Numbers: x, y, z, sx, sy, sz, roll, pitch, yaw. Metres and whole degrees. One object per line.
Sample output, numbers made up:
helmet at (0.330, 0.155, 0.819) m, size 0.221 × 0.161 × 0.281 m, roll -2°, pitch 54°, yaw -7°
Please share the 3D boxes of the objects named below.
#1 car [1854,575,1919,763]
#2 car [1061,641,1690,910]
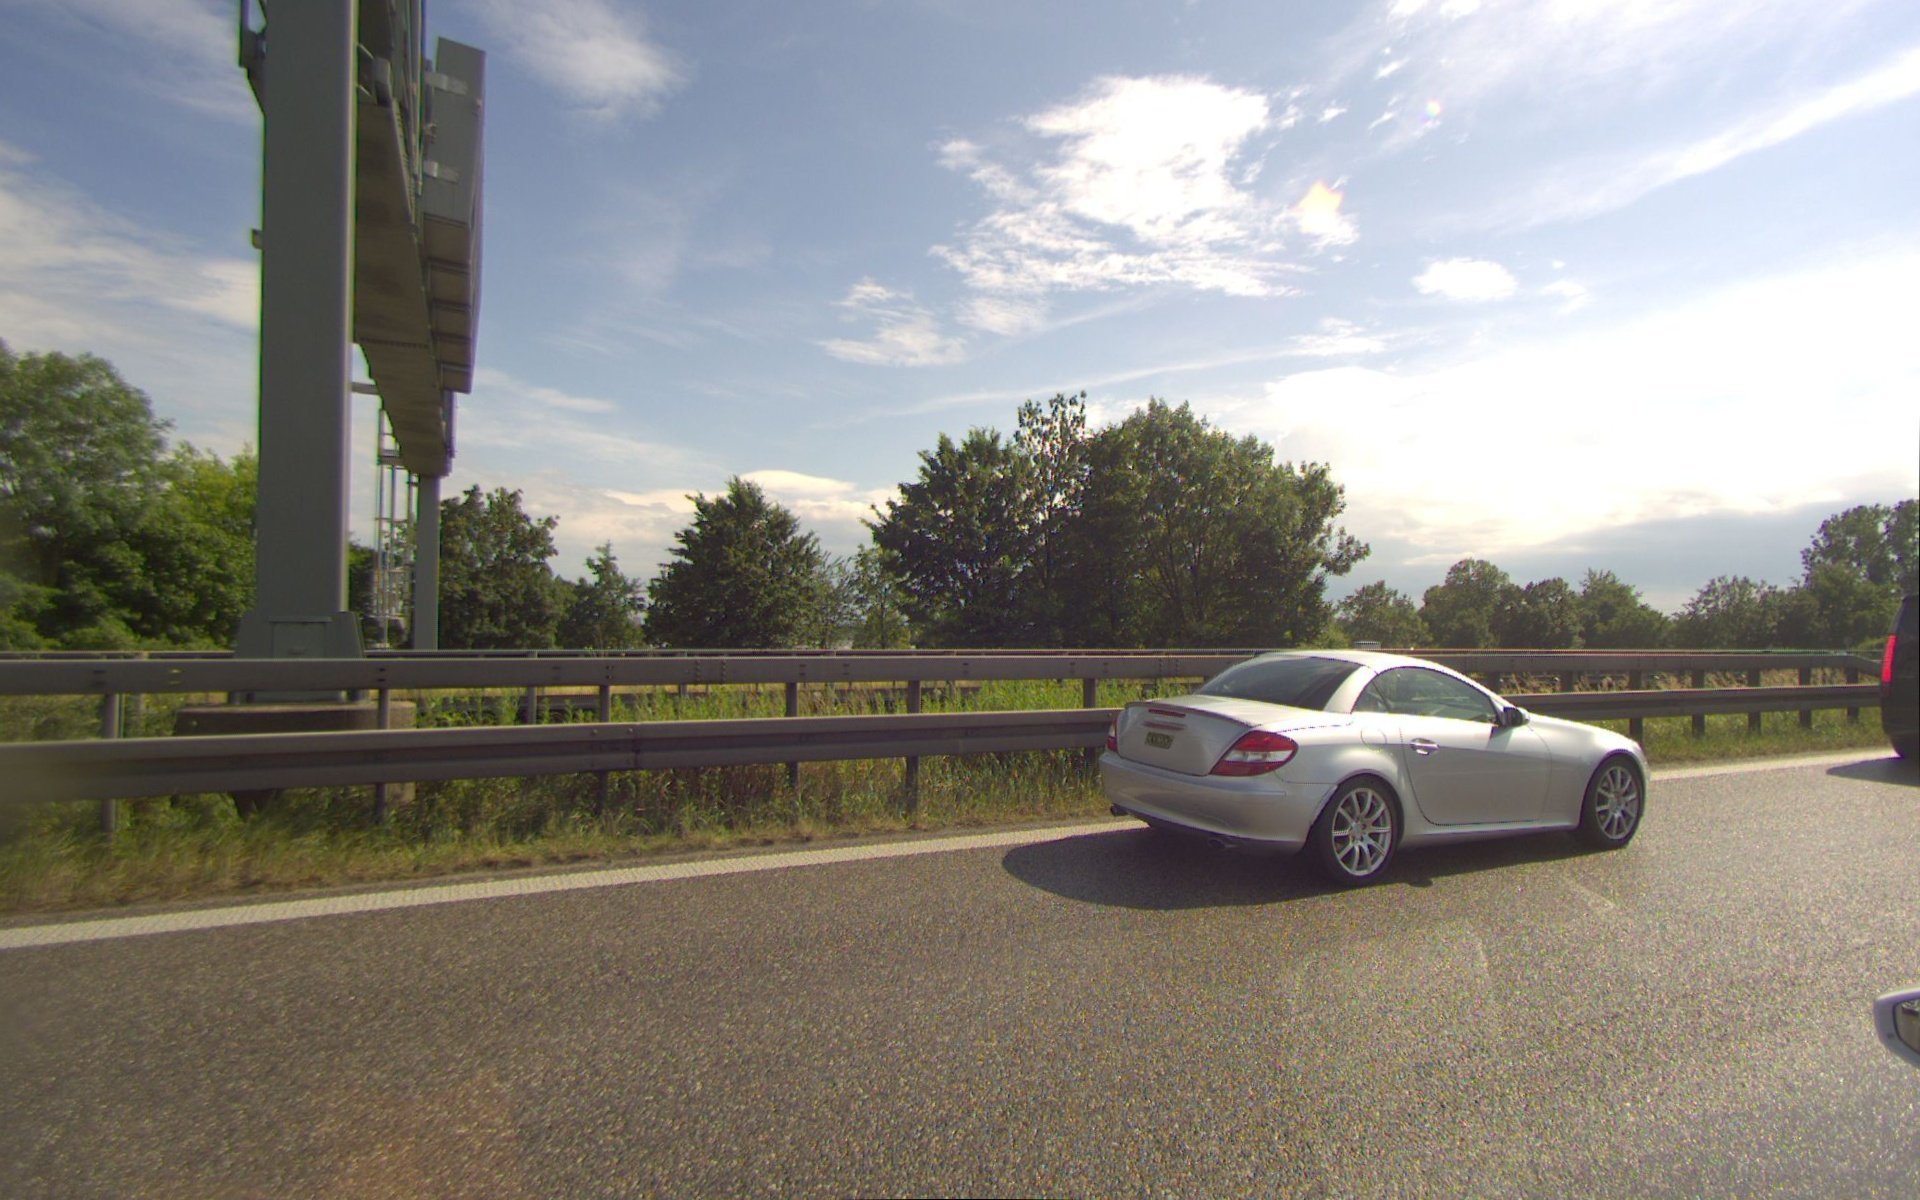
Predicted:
car at (12.953, 0.801, 11.708) m, size 5.200 × 2.040 × 1.987 m, roll 1°, pitch -1°, yaw -26°
car at (2.829, 0.950, 6.719) m, size 4.011 × 1.295 × 1.718 m, roll 1°, pitch -1°, yaw -27°
